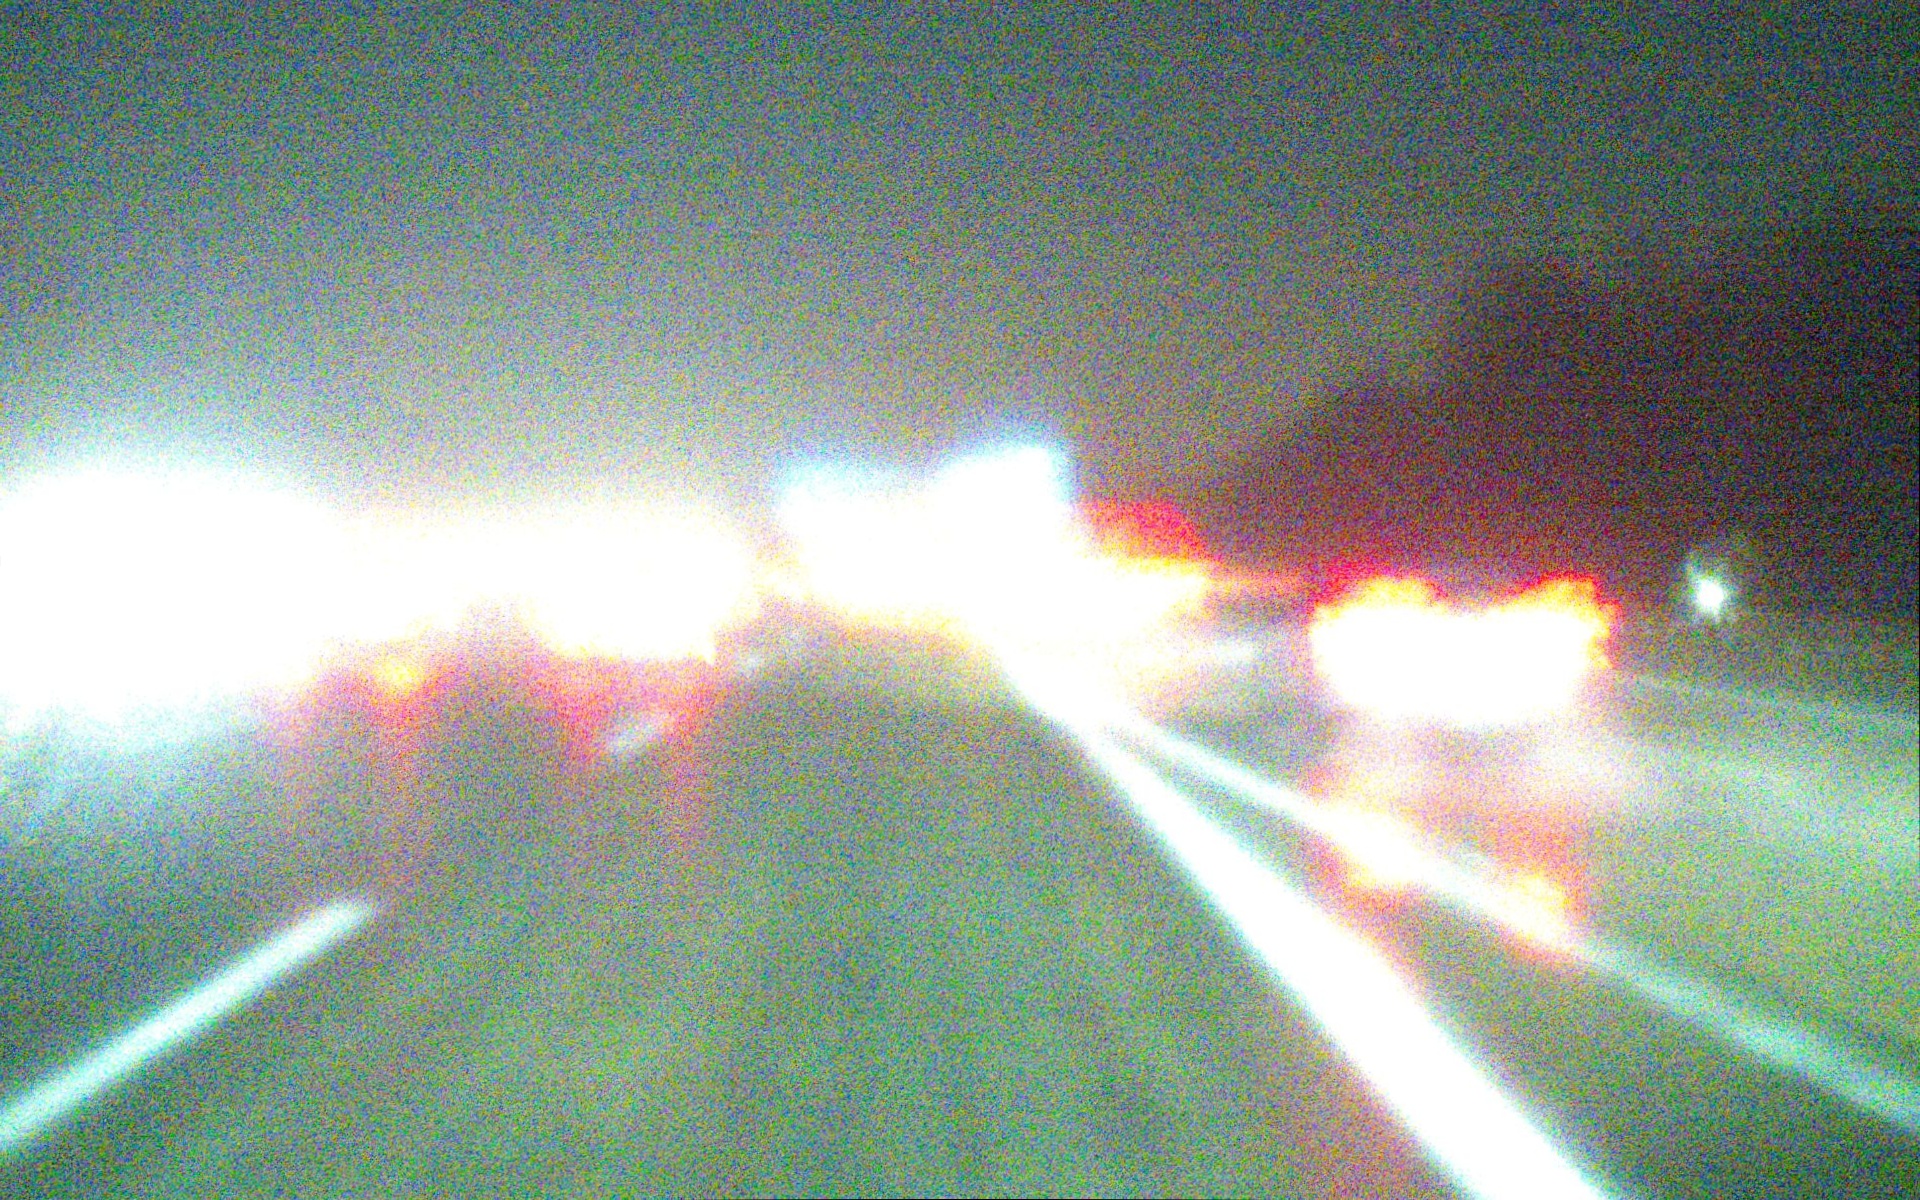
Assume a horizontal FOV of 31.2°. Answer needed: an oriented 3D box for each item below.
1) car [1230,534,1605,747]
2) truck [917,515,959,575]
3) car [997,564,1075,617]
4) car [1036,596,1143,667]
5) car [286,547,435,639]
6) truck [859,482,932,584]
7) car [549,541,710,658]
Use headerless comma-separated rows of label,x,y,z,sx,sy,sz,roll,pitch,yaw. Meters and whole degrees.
car,3.477,0.248,27.141,2.057,1.514,5.016,0,1,-3
truck,-1.165,-2.978,187.621,1.993,3.032,6.465,-3,-1,1
car,1.805,-0.224,82.443,1.580,1.242,3.069,0,0,-5
car,2.304,0.561,61.936,1.580,1.242,3.069,0,0,-5
car,-8.925,-0.080,51.436,1.662,1.232,3.761,-3,-1,-2
truck,-2.070,-2.125,111.637,1.993,3.032,6.465,-3,-1,1
car,-4.371,-0.045,45.917,1.802,1.482,4.000,0,1,-1
